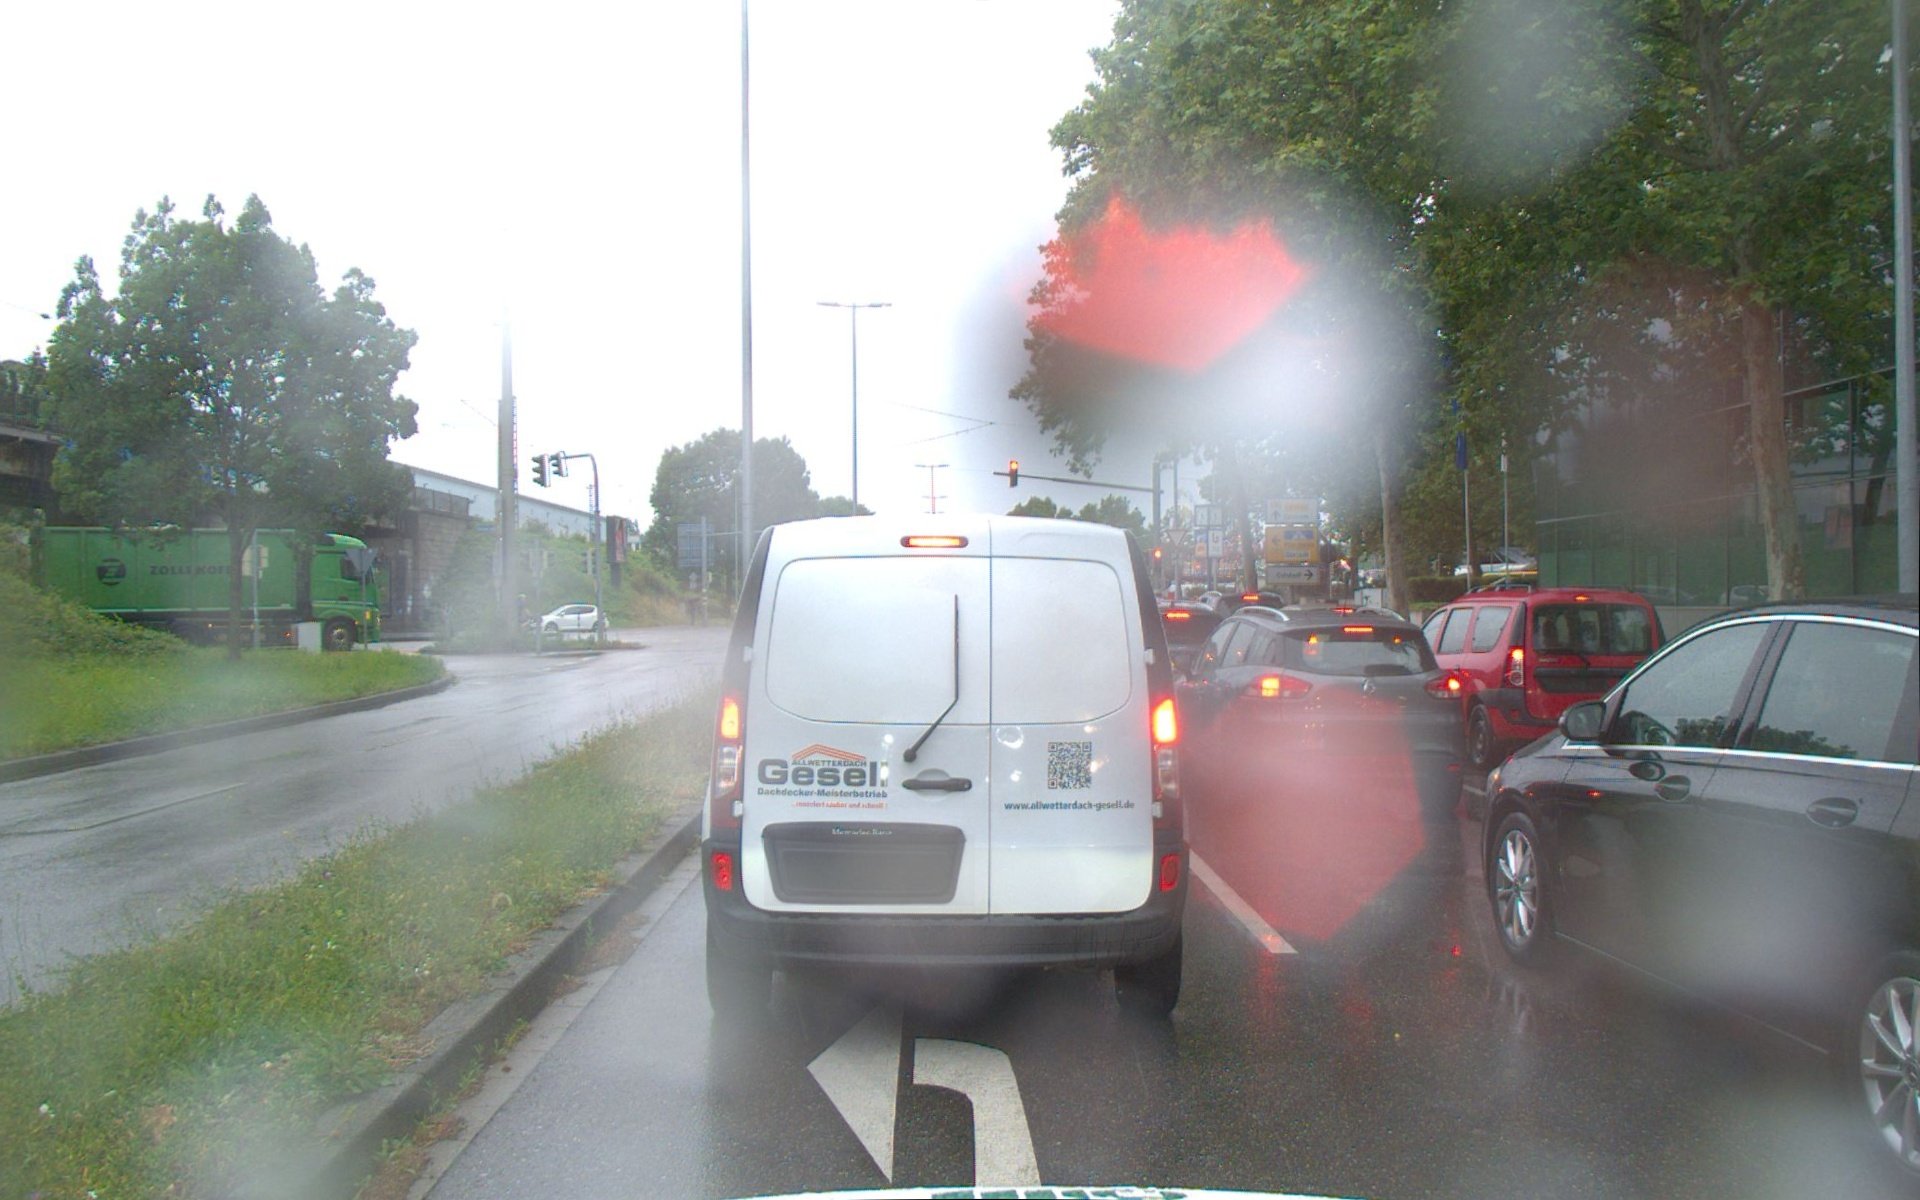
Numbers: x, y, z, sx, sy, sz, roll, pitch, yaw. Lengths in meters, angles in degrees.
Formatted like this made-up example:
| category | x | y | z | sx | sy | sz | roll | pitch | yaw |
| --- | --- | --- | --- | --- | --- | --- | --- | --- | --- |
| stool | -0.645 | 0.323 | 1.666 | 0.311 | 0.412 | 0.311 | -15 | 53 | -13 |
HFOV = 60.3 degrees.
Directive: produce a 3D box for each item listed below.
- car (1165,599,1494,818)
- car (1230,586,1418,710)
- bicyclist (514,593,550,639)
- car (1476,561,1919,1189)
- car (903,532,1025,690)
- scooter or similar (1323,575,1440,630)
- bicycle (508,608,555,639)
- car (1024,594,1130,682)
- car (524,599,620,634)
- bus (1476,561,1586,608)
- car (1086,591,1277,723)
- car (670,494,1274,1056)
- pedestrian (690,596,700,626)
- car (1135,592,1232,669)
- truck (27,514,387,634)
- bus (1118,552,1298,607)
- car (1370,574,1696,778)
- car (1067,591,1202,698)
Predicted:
| category | x | y | z | sx | sy | sz | roll | pitch | yaw |
| --- | --- | --- | --- | --- | --- | --- | --- | --- | --- |
| car | 2.749 | 0.739 | 13.139 | 1.649 | 1.433 | 3.842 | 1 | 0 | -2 |
| car | 5.343 | 0.649 | 24.779 | 1.838 | 1.641 | 3.999 | 2 | 1 | -1 |
| bicyclist | -14.305 | 0.523 | 55.225 | 1.028 | 1.475 | 0.723 | -1 | 1 | -26 |
| car | 3.242 | 0.693 | 5.444 | 1.712 | 1.582 | 4.089 | 0 | 0 | -2 |
| car | 0.036 | 0.147 | 26.471 | 1.816 | 2.336 | 3.842 | 0 | 0 | -1 |
| scooter or similar | 19.672 | 0.113 | 77.355 | 1.878 | 2.489 | 5.239 | 0 | 0 | -41 |
| bicycle | -14.350 | 0.772 | 55.341 | 1.027 | 0.968 | 2.866 | -1 | 1 | -25 |
| car | 2.307 | 0.740 | 33.543 | 1.816 | 1.678 | 3.842 | 0 | 0 | -1 |
| car | -18.967 | 0.789 | 80.914 | 4.201 | 1.624 | 1.975 | -1 | 0 | -36 |
| bus | 45.034 | -1.295 | 130.272 | 11.898 | 3.483 | 2.447 | -2 | 1 | -40 |
| car | 2.659 | 0.638 | 20.659 | 1.816 | 1.486 | 3.842 | 0 | 0 | -1 |
| car | 0.010 | 0.545 | 7.639 | 1.953 | 1.807 | 4.584 | 0 | 0 | -1 |
| pedestrian | -15.351 | 0.639 | 95.833 | 0.532 | 1.746 | 0.563 | 1 | -1 | -5 |
| car | 5.170 | 0.689 | 38.698 | 1.674 | 1.678 | 3.842 | 1 | 0 | -1 |
| truck | -23.138 | -0.775 | 51.351 | 9.956 | 3.430 | 2.316 | 0 | 0 | -37 |
| bus | 16.602 | -1.378 | 111.147 | 11.727 | 3.483 | 2.315 | -1 | 1 | -1 |
| car | 5.450 | 0.669 | 16.325 | 1.676 | 1.724 | 4.271 | 1 | -1 | -1 |
| car | 2.872 | 0.687 | 27.890 | 1.816 | 1.678 | 3.842 | 0 | 0 | -1 |
